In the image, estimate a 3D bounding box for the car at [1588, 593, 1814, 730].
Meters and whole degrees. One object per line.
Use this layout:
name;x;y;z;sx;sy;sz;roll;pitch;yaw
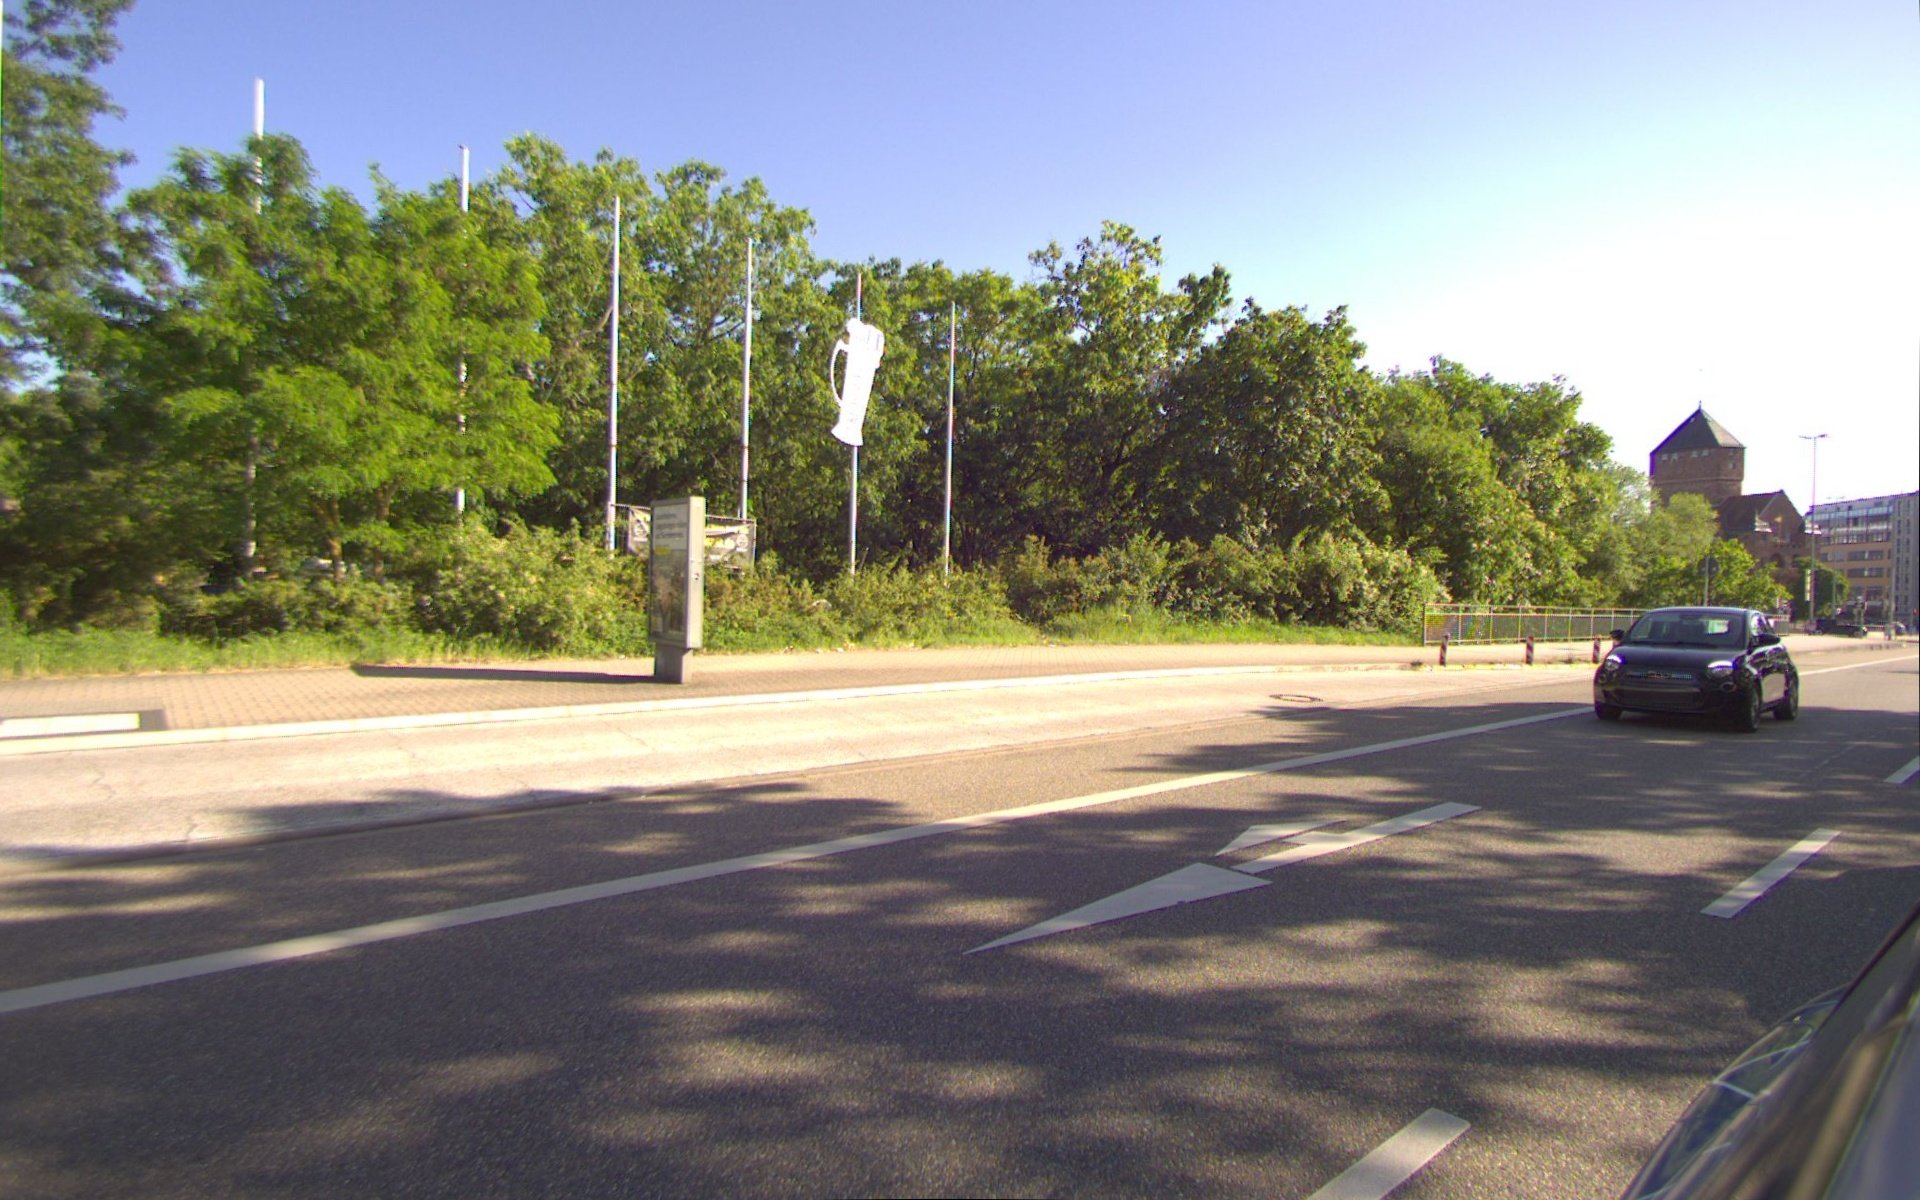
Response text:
car;9.833;0.708;13.352;3.500;1.522;1.677;0;1;-41
